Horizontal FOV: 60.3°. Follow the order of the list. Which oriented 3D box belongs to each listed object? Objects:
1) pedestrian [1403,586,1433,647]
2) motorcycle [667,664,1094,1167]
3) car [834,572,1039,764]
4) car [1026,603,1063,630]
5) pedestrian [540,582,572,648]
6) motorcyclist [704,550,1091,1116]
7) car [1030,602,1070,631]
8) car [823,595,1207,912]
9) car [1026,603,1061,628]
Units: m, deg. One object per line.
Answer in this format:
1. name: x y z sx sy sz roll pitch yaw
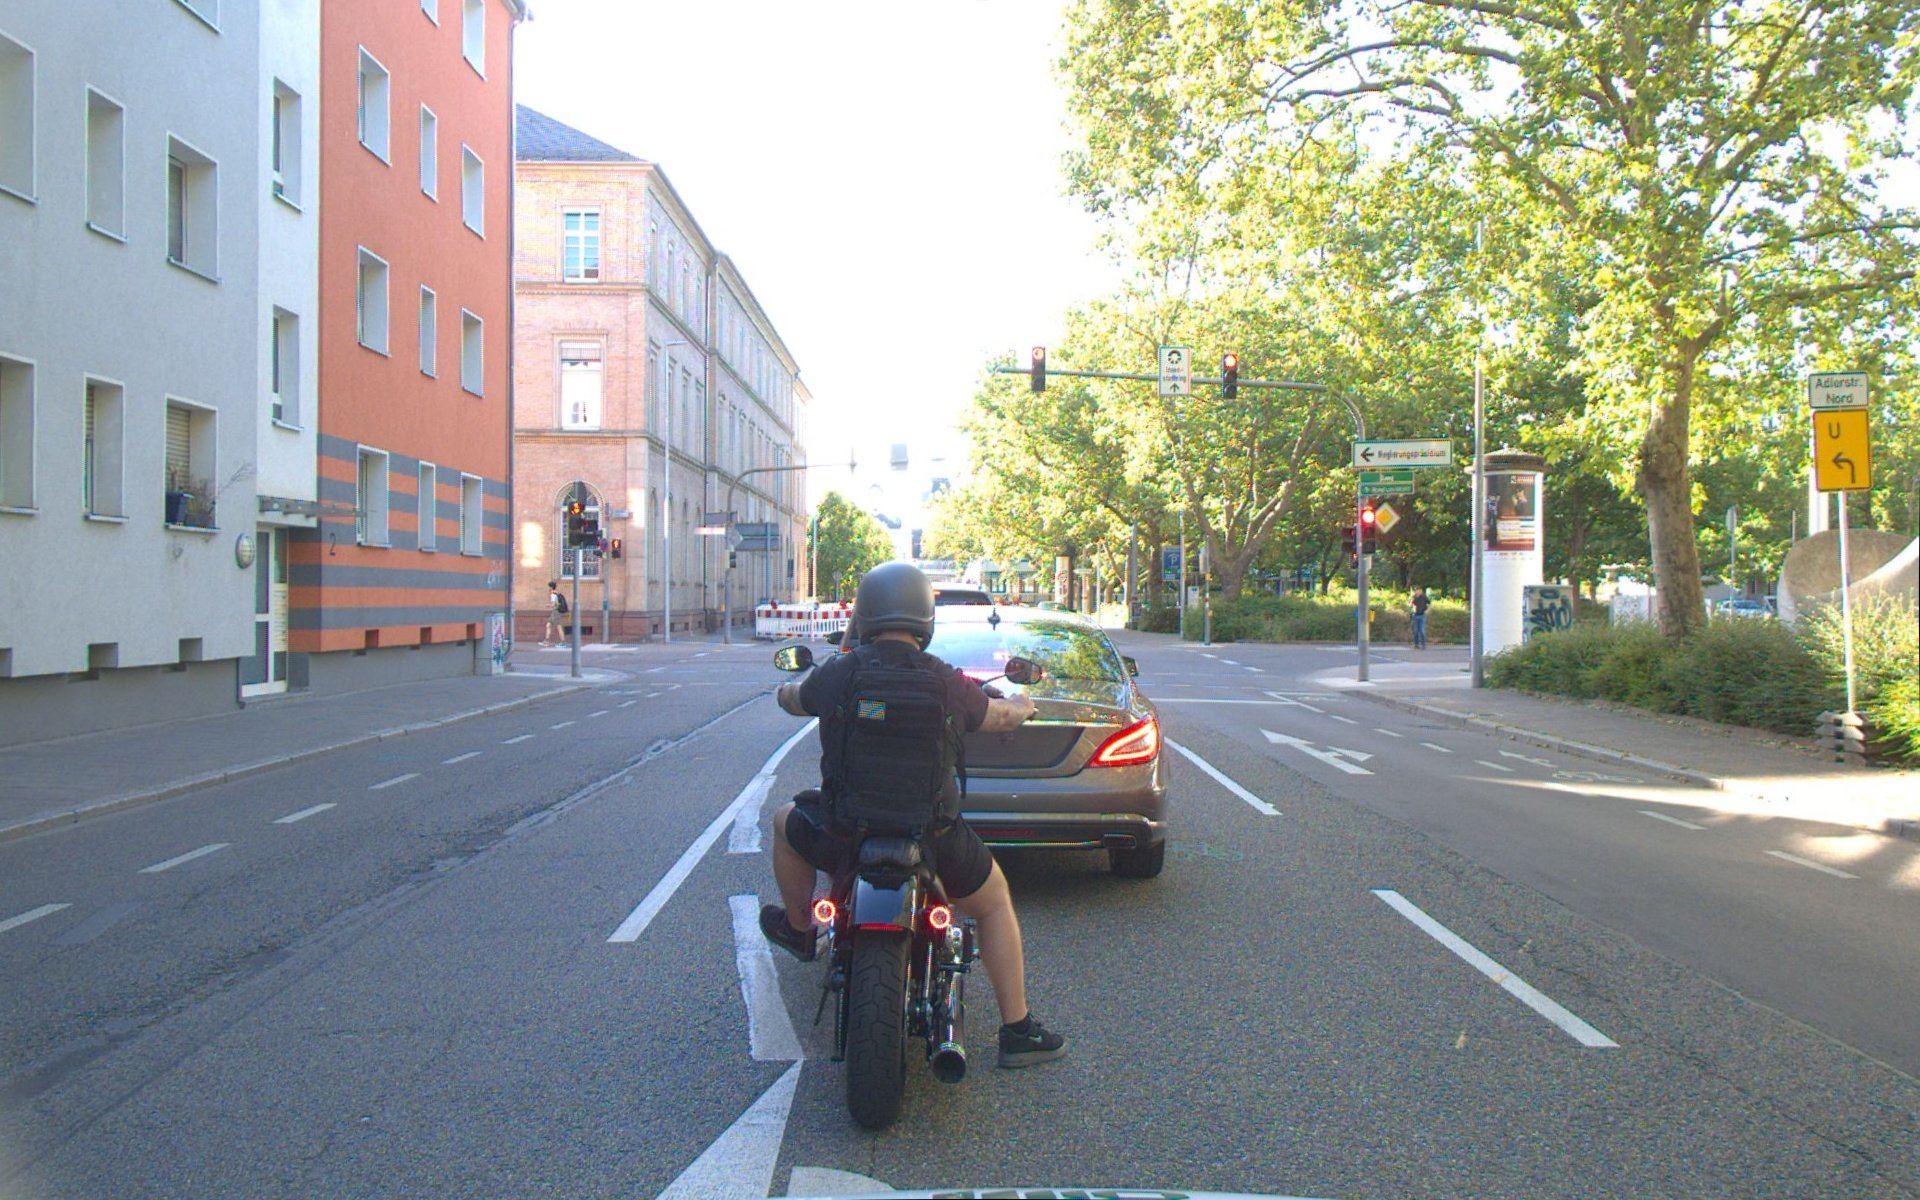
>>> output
1. pedestrian: 13.796 0.485 49.805 0.722 1.809 0.728 1 -1 29
2. motorcycle: -0.128 0.874 5.505 1.094 1.228 2.213 1 0 5
3. car: -0.240 0.623 16.950 1.825 1.707 3.999 1 0 -1
4. car: 4.205 0.807 82.486 1.598 1.281 3.715 1 0 -1
5. pedestrian: -11.442 0.418 46.872 0.723 1.852 0.643 1 -1 -1
6. motorcyclist: -0.141 0.663 5.285 1.076 1.593 1.072 1 0 5
7. car: 4.149 0.751 76.657 1.598 1.281 3.715 1 0 -1
8. car: 0.234 0.732 9.678 1.785 1.462 3.805 1 0 -1
9. car: 4.388 0.832 87.731 1.598 1.281 3.715 1 0 -1
